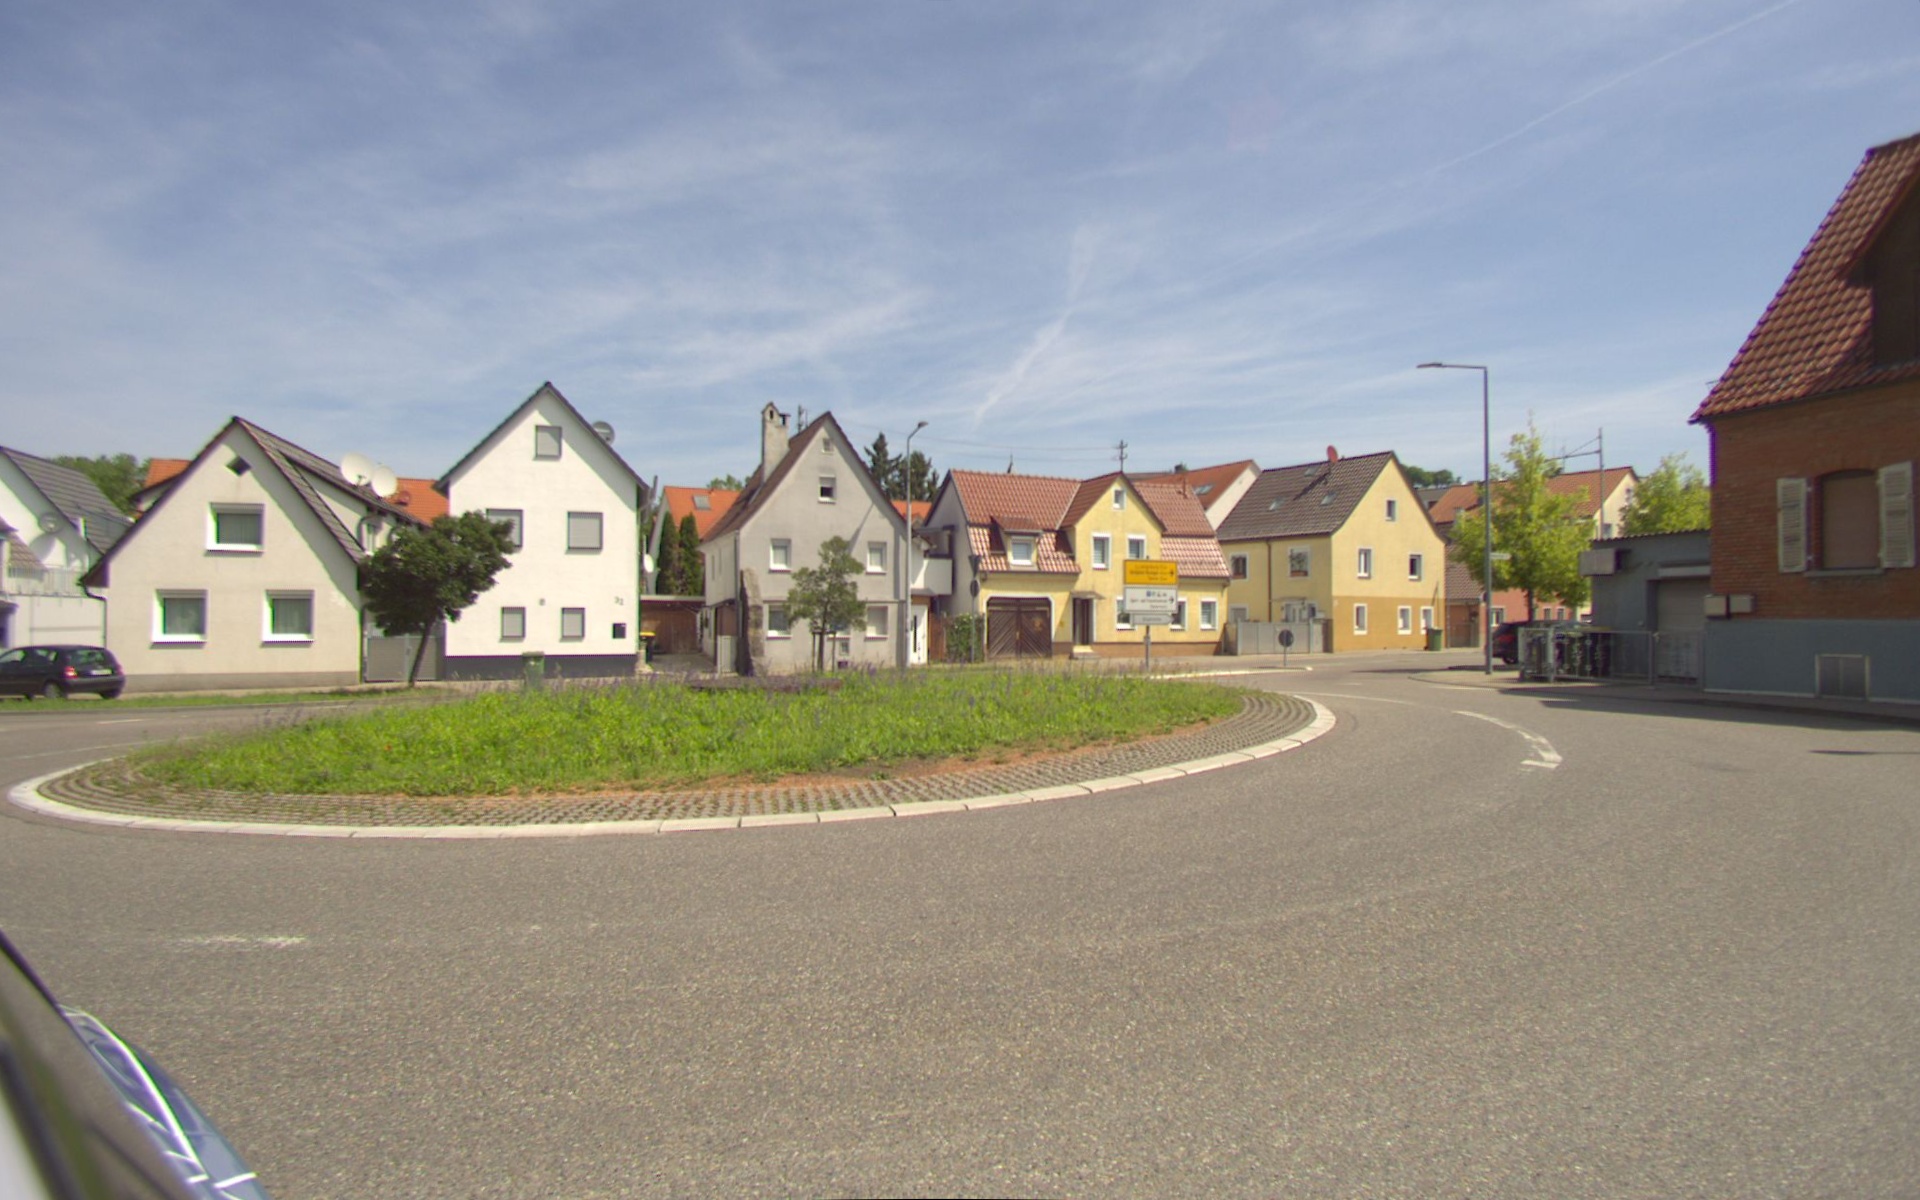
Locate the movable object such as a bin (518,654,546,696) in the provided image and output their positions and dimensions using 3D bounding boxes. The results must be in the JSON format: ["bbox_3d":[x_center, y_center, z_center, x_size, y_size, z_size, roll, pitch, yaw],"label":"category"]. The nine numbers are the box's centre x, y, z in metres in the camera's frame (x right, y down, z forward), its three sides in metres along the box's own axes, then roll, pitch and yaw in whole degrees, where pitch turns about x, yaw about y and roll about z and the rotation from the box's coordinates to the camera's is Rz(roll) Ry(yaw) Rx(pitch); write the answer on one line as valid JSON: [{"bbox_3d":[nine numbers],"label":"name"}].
[{"bbox_3d":[-11.201,1.946,26.480,0.569,1.056,0.906,0,-2,-29],"label":"movable object such as a bin"}]

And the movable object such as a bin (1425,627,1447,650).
[{"bbox_3d":[21.750,1.763,46.201,0.576,1.060,0.700,0,-2,-39],"label":"movable object such as a bin"}]

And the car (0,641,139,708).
[{"bbox_3d":[-23.066,1.832,25.407,3.804,1.452,1.773,1,1,10],"label":"car"}]

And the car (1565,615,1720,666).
[{"bbox_3d":[23.083,1.356,34.390,3.969,1.630,1.806,-1,-1,20],"label":"car"}]
